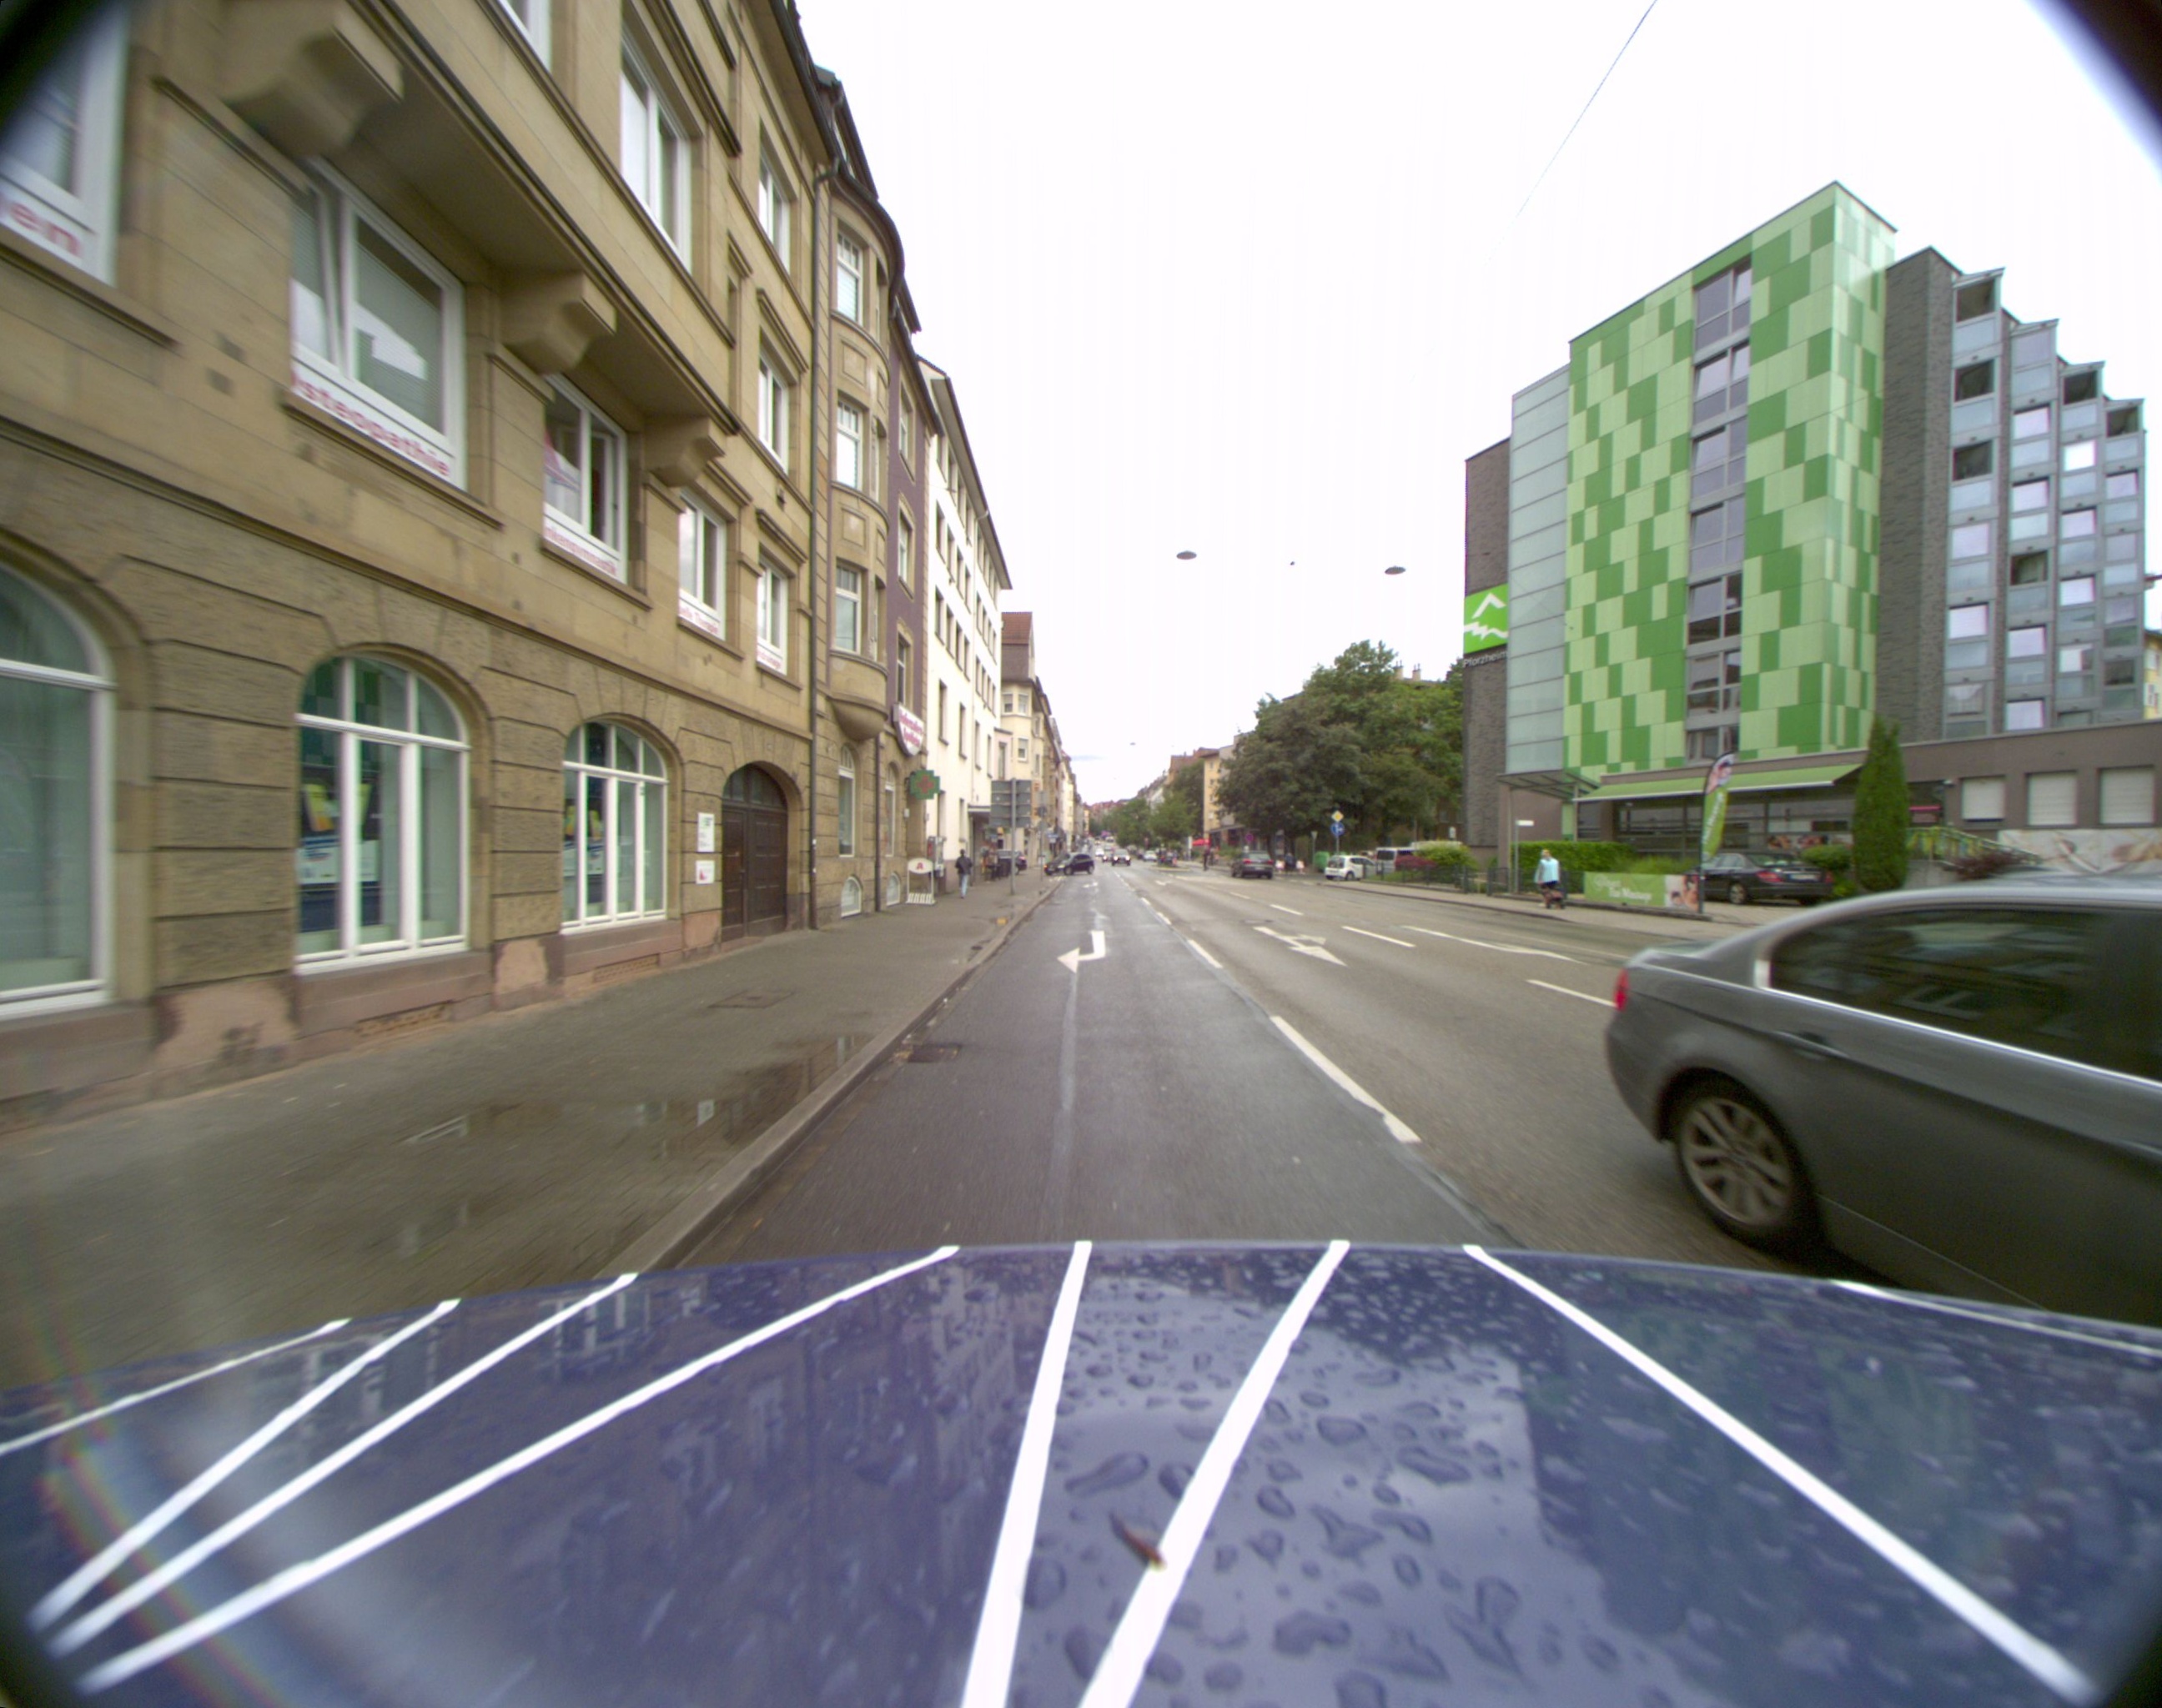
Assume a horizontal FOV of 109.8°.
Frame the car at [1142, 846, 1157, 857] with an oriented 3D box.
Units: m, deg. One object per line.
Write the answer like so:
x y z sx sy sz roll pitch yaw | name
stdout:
9.859 -0.330 110.076 1.824 1.560 4.088 0 1 0 | car

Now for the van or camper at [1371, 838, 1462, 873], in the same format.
20.509 0.108 46.443 4.972 2.001 1.998 0 -3 -19 | van or camper

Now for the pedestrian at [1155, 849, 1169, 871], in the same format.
6.658 0.511 62.454 0.724 1.815 0.853 -1 1 -22 | pedestrian

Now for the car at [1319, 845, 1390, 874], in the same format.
15.841 0.296 44.071 3.592 1.560 1.738 -2 1 -21 | car

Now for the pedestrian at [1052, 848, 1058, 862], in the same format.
-3.129 0.103 90.458 0.563 1.564 0.626 -1 1 -15 | pedestrian

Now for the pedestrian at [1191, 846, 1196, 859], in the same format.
15.674 -0.244 105.847 0.591 1.809 0.870 -1 1 -8 | pedestrian

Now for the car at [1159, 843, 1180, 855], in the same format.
10.682 -0.645 91.750 2.019 1.417 4.499 0 1 1 | car

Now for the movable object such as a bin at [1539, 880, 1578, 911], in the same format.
13.205 1.143 21.002 0.735 0.784 0.752 -2 2 -44 | movable object such as a bin

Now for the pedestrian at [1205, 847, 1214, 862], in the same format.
15.405 0.061 91.193 0.724 1.815 0.721 -1 1 -18 | pedestrian

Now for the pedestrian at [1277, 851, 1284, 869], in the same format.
13.223 0.422 50.352 0.410 1.191 0.311 0 1 -6 | pedestrian

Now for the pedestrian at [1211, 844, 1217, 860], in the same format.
14.589 -0.220 83.275 0.499 1.664 0.552 -1 1 -3 | pedestrian

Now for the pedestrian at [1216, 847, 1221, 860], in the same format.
15.100 -0.086 83.249 0.461 1.465 0.530 -1 1 -3 | pedestrian

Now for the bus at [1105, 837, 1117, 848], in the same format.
8.927 -3.456 226.490 2.812 3.228 11.957 4 1 0 | bus

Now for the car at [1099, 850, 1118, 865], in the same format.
3.535 0.434 99.009 1.999 2.002 3.998 0 0 -4 | car

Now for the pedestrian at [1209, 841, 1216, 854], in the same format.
16.853 -0.860 97.302 0.715 1.669 0.713 -1 1 0 | pedestrian

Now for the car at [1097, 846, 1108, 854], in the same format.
4.355 -0.891 152.102 1.960 1.548 4.242 1 1 -1 | car

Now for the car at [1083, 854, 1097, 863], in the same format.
1.334 0.658 111.254 1.739 1.302 3.765 0 0 -3 | car

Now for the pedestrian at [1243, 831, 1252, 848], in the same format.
18.667 -1.647 85.186 0.724 1.815 0.720 -1 1 -27 | pedestrian

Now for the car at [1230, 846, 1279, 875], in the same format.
10.124 0.348 44.652 1.953 1.649 4.056 0 1 0 | car

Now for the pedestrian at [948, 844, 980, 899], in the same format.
-3.678 0.544 24.017 0.673 1.710 0.902 0 1 16 | pedestrian

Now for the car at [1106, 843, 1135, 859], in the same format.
3.976 -0.301 77.764 1.858 1.646 4.200 0 0 -13 | car

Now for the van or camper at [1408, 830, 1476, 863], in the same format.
26.971 -0.560 56.723 4.624 2.253 2.207 -3 1 -28 | van or camper

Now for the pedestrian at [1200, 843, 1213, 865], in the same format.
10.525 -0.013 63.931 0.862 1.834 0.693 0 1 -14 | pedestrian

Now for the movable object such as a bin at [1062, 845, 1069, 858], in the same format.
-2.250 -0.384 111.407 1.002 1.783 1.295 0 2 -1 | movable object such as a bin

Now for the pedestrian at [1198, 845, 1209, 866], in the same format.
10.469 0.114 64.865 0.657 1.749 0.719 -1 1 -20 | pedestrian

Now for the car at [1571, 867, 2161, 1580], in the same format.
3.186 0.796 1.312 1.804 1.455 4.370 -1 0 -1 | car

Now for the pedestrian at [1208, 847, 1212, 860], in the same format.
14.131 -0.056 83.233 0.434 1.402 0.481 -1 1 -3 | pedestrian

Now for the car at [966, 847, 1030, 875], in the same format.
-5.640 0.459 51.366 4.152 1.761 1.872 -2 1 -9 | car

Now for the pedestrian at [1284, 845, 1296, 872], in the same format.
13.858 0.293 50.404 0.575 1.752 0.581 0 1 -6 | pedestrian

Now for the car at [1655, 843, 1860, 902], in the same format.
18.439 0.426 21.077 1.997 1.430 4.655 0 1 8 | car

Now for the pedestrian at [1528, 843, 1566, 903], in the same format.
13.270 0.535 21.639 0.749 1.676 0.752 -1 1 -44 | pedestrian

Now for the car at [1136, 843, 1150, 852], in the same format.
10.605 -1.097 130.249 1.960 1.548 4.242 1 1 -1 | car

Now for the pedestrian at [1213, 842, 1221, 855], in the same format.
17.192 -0.723 95.991 0.711 1.669 0.801 0 1 29 | pedestrian

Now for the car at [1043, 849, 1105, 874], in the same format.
-0.429 0.469 50.249 3.990 1.539 1.730 0 2 -45 | car
